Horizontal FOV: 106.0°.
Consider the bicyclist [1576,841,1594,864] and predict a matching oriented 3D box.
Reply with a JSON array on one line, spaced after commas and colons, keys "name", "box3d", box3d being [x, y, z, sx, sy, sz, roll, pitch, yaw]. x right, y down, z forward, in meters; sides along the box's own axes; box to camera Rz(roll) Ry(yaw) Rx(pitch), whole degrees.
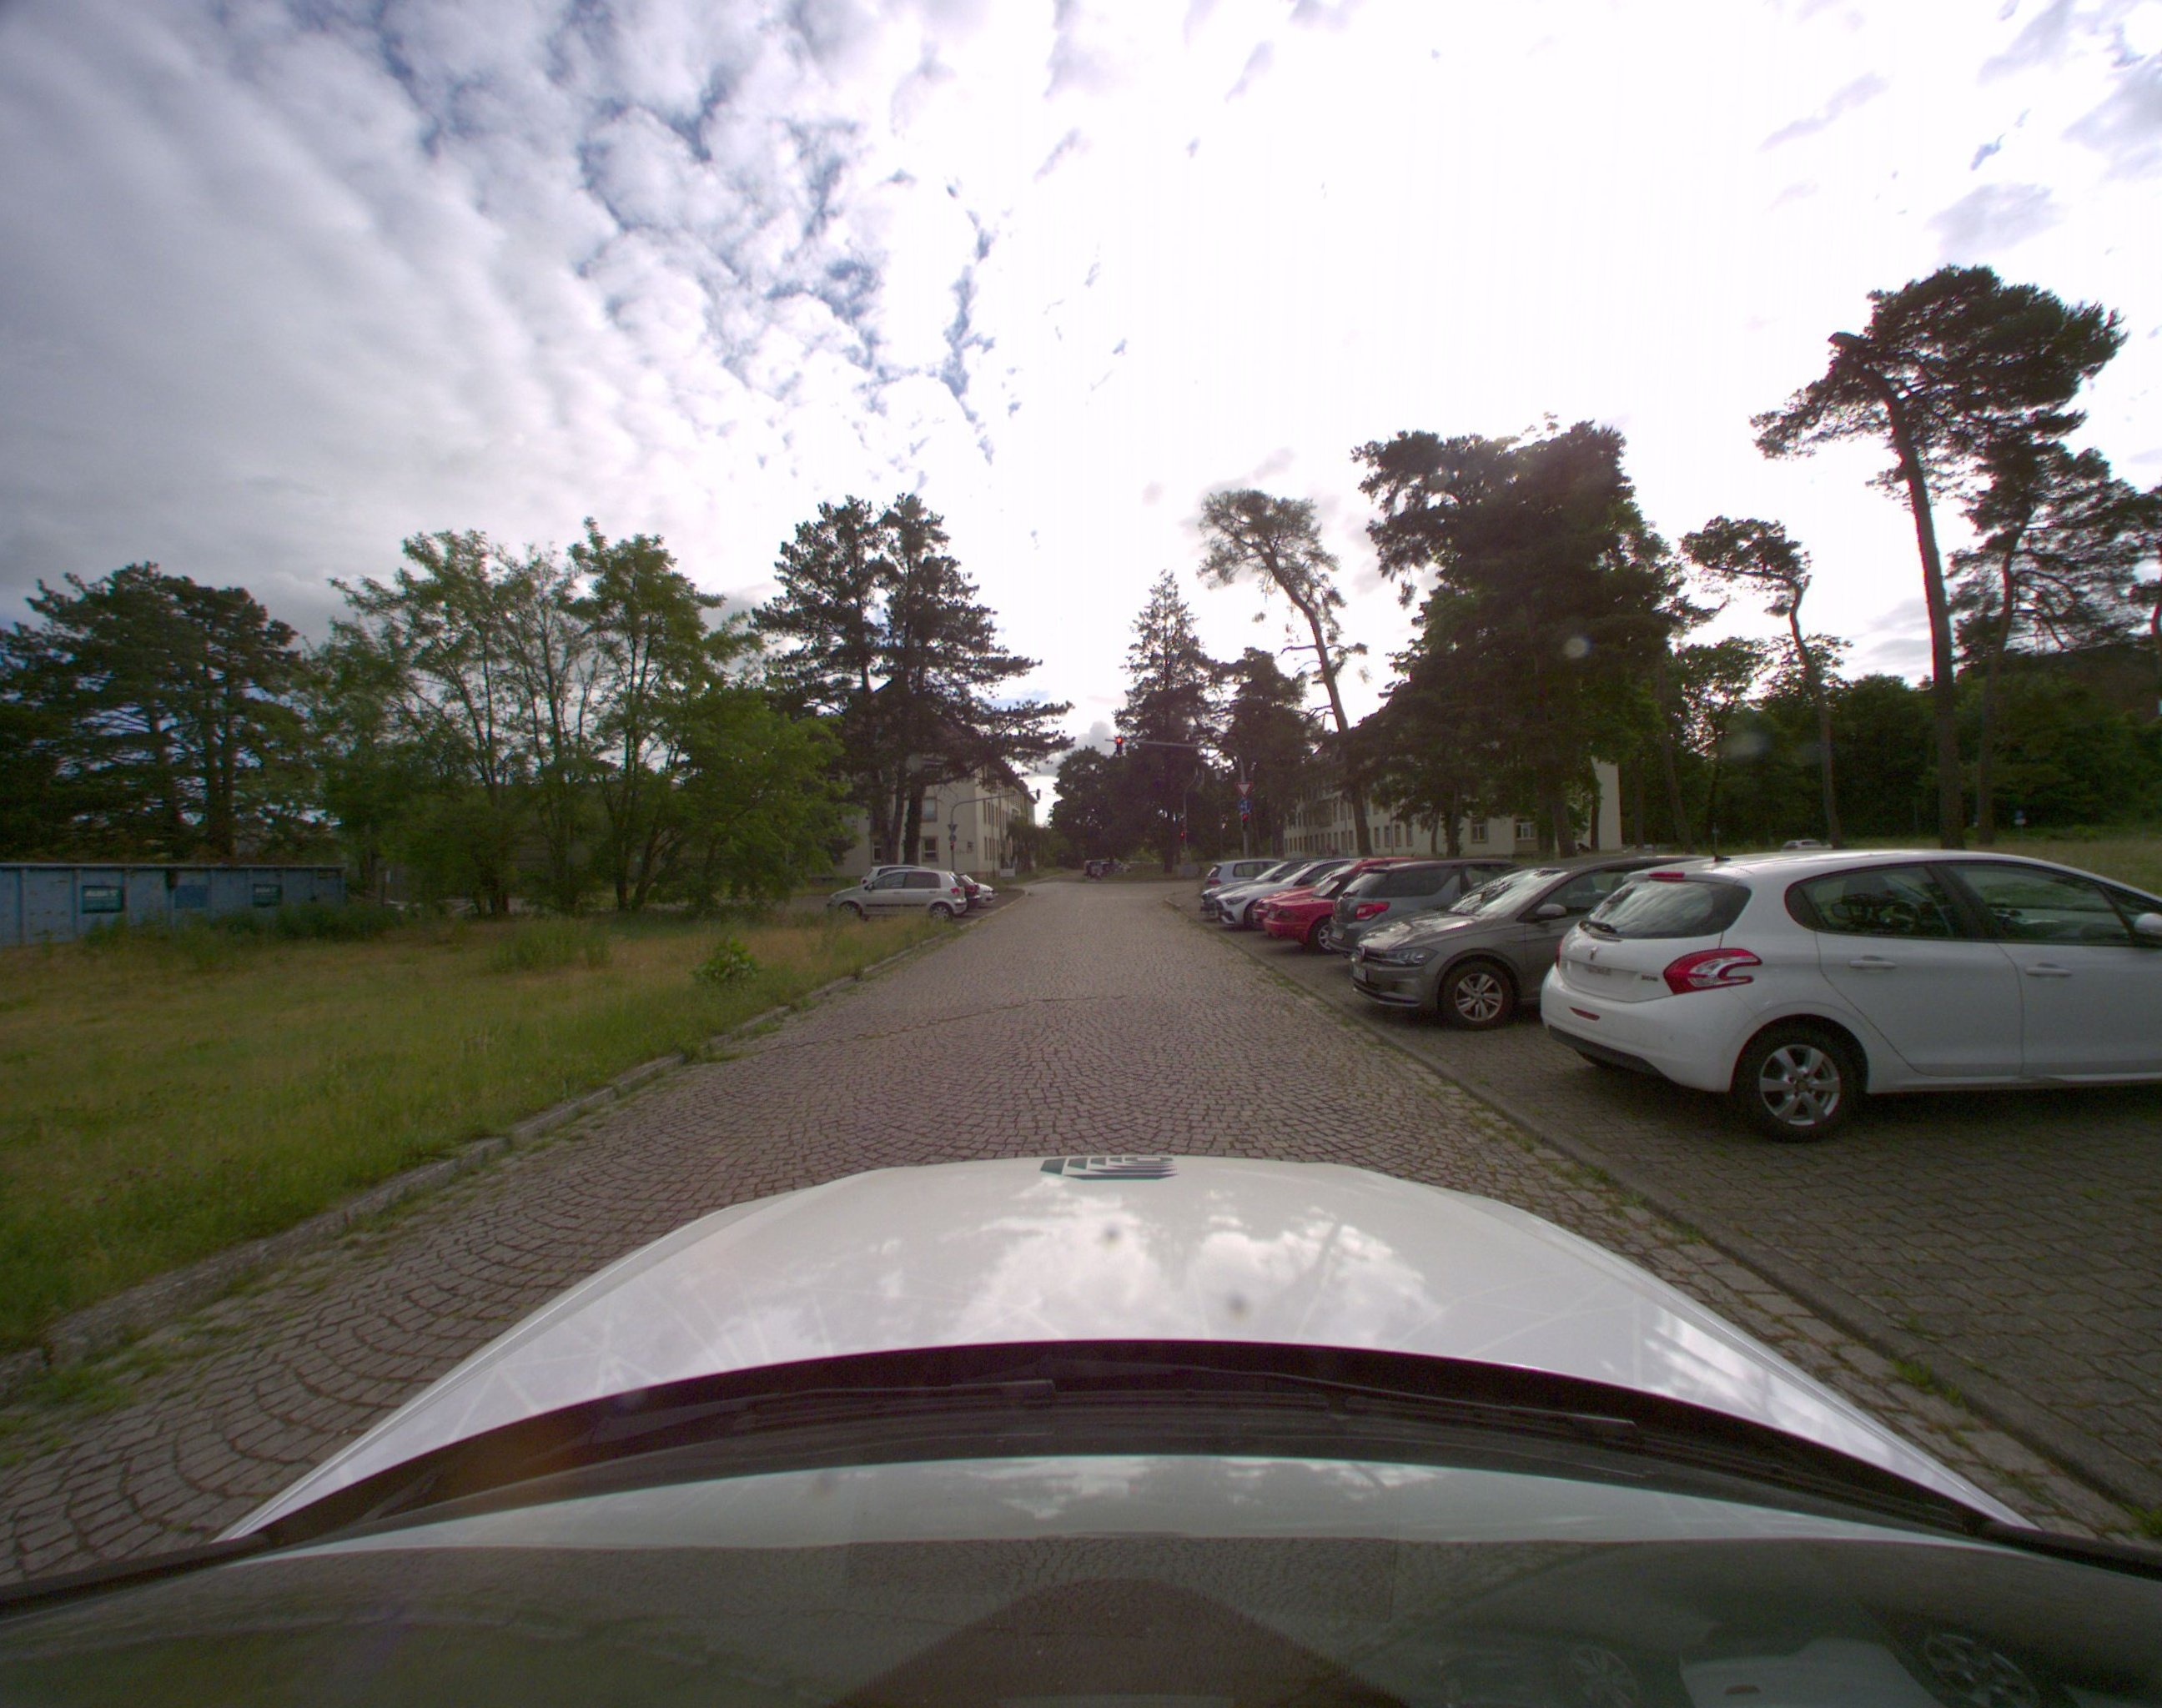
[{"name": "bicyclist", "box3d": [32.793, -0.096, 53.002, 0.744, 1.410, 0.606, -2, -1, 10]}]

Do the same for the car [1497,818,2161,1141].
[{"name": "car", "box3d": [4.995, 0.635, 5.066, 3.848, 1.472, 1.759, -4, -1, 2]}]

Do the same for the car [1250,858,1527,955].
[{"name": "car", "box3d": [4.933, 0.817, 13.439, 3.850, 1.236, 1.757, -4, -1, -1]}]

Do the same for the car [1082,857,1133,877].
[{"name": "car", "box3d": [2.888, 1.442, 90.313, 5.358, 1.925, 2.019, -3, -1, -8]}]

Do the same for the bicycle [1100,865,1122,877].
[{"name": "bicycle", "box3d": [2.784, 1.568, 74.341, 1.967, 1.069, 0.582, -2, -1, -29]}]

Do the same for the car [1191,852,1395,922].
[{"name": "car", "box3d": [5.330, 0.817, 20.905, 4.668, 1.416, 1.870, -4, -1, -2]}]

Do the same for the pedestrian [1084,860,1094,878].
[{"name": "pedestrian", "box3d": [0.771, 1.394, 76.352, 0.738, 1.618, 0.774, -2, -1, -8]}]

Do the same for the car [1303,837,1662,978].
[{"name": "car", "box3d": [5.156, 0.659, 10.840, 3.850, 1.472, 1.757, -4, -1, -1]}]

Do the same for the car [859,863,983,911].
[{"name": "car", "box3d": [-5.428, 1.126, 28.016, 3.937, 1.563, 1.649, 1, -1, -2]}]

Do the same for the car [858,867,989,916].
[{"name": "car", "box3d": [-4.813, 1.152, 25.231, 3.736, 1.429, 1.581, 1, -1, -2]}]

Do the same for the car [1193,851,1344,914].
[{"name": "car", "box3d": [5.301, 0.790, 23.358, 3.912, 1.477, 1.643, -4, -1, 2]}]

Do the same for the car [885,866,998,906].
[{"name": "car", "box3d": [-5.178, 1.188, 30.556, 3.935, 1.421, 1.650, 1, -1, 0]}]

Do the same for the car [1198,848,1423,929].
[{"name": "car", "box3d": [5.057, 0.731, 18.221, 4.420, 1.416, 1.866, -4, -1, -8]}]

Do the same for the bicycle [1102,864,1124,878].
[{"name": "bicycle", "box3d": [2.860, 1.523, 72.857, 1.952, 1.117, 0.587, -2, -1, -6]}]

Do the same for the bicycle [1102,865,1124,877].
[{"name": "bicycle", "box3d": [2.962, 1.580, 75.689, 1.967, 1.069, 0.582, -2, -1, -29]}]

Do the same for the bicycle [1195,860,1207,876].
[{"name": "bicycle", "box3d": [8.837, 1.010, 60.067, 0.584, 1.106, 1.961, -2, -1, 1]}]

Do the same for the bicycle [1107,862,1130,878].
[{"name": "bicycle", "box3d": [3.413, 1.434, 73.685, 1.952, 1.384, 0.587, -2, -1, -6]}]

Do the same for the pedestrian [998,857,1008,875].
[{"name": "pedestrian", "box3d": [-8.434, 1.284, 88.065, 0.779, 1.837, 0.733, -2, -1, -31]}]

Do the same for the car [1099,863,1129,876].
[{"name": "car", "box3d": [3.522, 1.656, 86.920, 3.001, 1.268, 1.532, -2, -1, -5]}]

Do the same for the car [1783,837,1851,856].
[{"name": "car", "box3d": [59.029, -0.598, 65.340, 3.930, 1.421, 1.652, 1, -1, 3]}]

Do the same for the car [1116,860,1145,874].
[{"name": "car", "box3d": [5.692, 1.508, 94.170, 3.223, 1.416, 1.724, -2, -1, -2]}]

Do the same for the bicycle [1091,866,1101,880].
[{"name": "bicycle", "box3d": [1.247, 1.608, 69.039, 0.602, 1.132, 1.958, -2, -1, -4]}]

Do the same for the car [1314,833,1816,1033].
[{"name": "car", "box3d": [4.501, 0.683, 7.973, 3.854, 1.472, 1.756, -4, -1, -3]}]

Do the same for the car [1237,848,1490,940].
[{"name": "car", "box3d": [5.383, 0.745, 15.950, 4.247, 1.416, 1.871, -4, -1, 0]}]

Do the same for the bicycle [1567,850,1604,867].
[{"name": "bicycle", "box3d": [32.811, 0.269, 52.997, 1.943, 1.024, 0.606, -2, -1, 9]}]

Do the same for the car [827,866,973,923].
[{"name": "car", "box3d": [-4.963, 1.102, 22.634, 3.693, 1.480, 1.581, 1, -1, -2]}]

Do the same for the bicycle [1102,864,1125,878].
[{"name": "bicycle", "box3d": [2.910, 1.490, 72.224, 1.952, 1.132, 0.587, -2, -1, -6]}]
